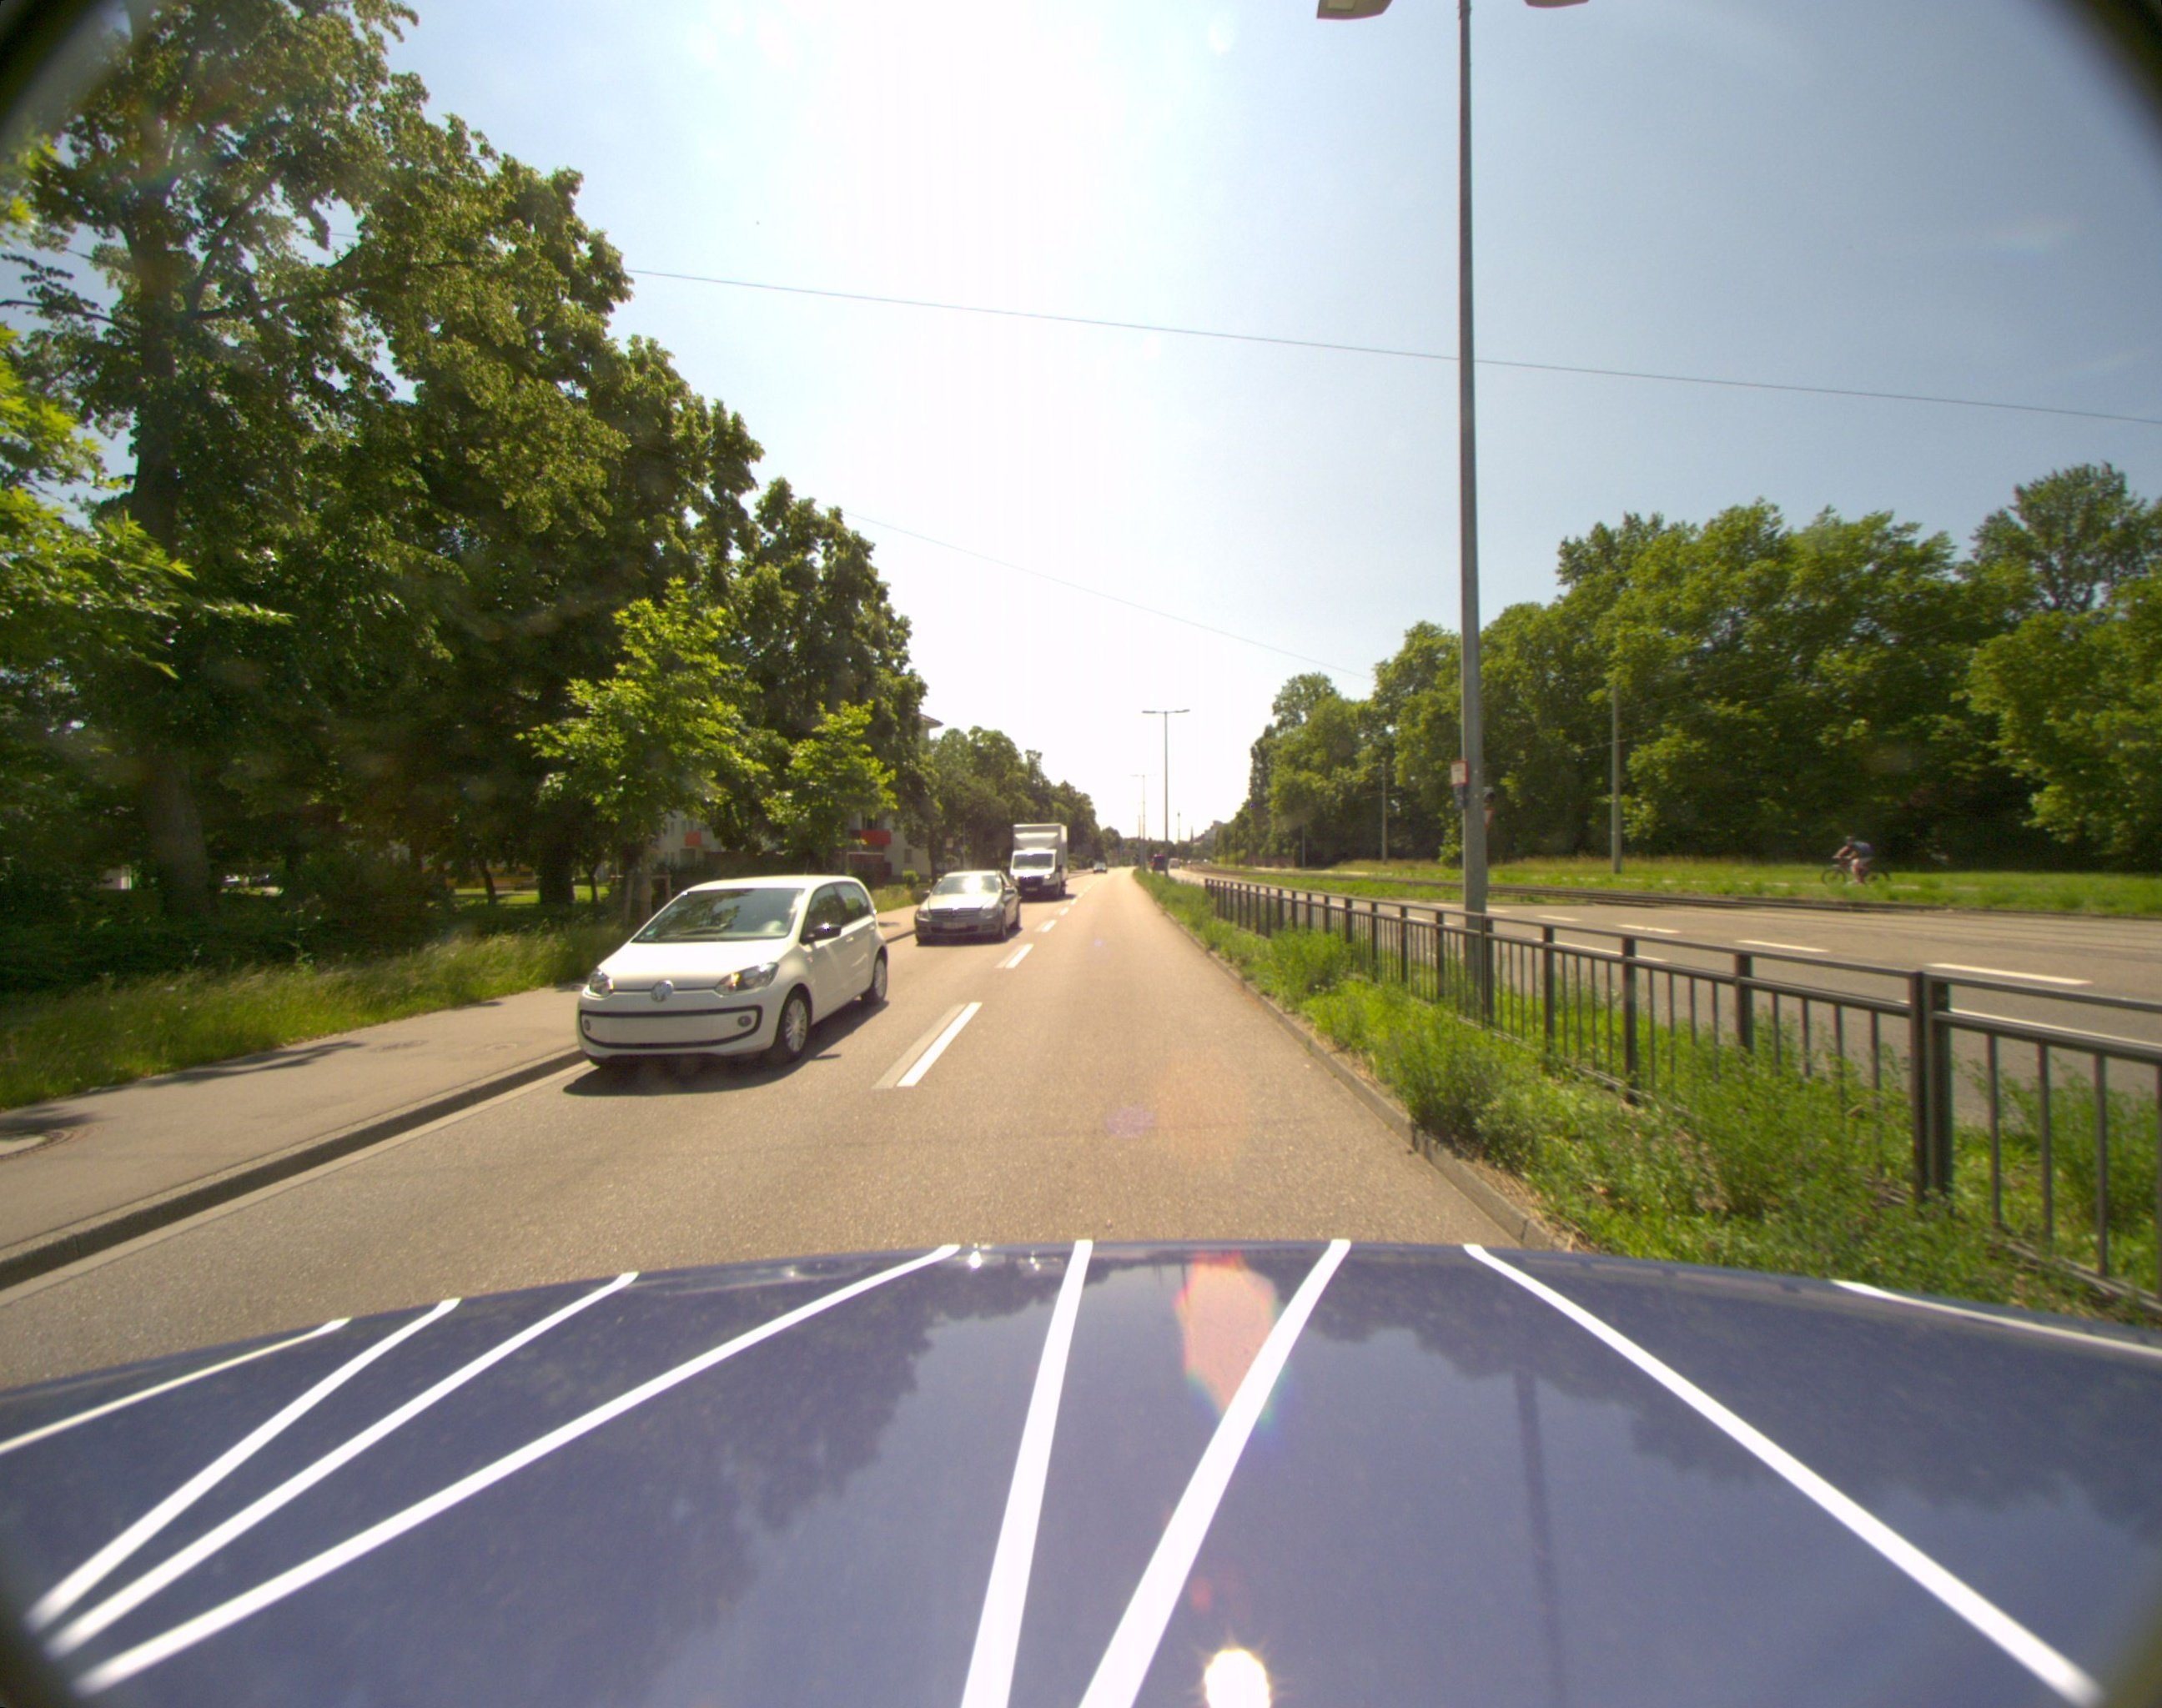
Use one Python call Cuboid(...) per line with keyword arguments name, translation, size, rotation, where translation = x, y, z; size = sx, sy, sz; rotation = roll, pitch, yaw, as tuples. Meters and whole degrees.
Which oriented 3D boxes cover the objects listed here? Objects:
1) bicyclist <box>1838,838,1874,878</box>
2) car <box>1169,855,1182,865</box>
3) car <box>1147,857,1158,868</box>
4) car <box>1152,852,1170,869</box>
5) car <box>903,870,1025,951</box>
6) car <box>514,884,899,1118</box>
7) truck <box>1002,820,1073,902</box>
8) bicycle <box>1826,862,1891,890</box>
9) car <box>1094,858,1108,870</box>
Cuboid(name="bicyclist", translation=(26.311, 0.137, 25.791), size=(0.509, 1.328, 0.680), rotation=(-1, 0, -5))
Cuboid(name="car", translation=(18.026, 1.134, 144.505), size=(1.998, 2.001, 5.031), rotation=(0, 0, 2))
Cuboid(name="car", translation=(12.933, 1.553, 137.289), size=(1.833, 1.895, 5.569), rotation=(0, 0, 6))
Cuboid(name="car", translation=(10.962, 0.858, 104.743), size=(1.998, 2.352, 5.373), rotation=(0, 0, 2))
Cuboid(name="car", translation=(-2.384, 1.123, 16.522), size=(1.903, 1.451, 3.972), rotation=(-3, -1, 1))
Cuboid(name="car", translation=(-3.086, 1.107, 7.248), size=(1.663, 1.441, 3.855), rotation=(-2, 0, 1))
Cuboid(name="truck", translation=(-1.801, 0.292, 34.918), size=(2.294, 3.259, 8.313), rotation=(-2, 0, 3))
Cuboid(name="bicycle", translation=(26.427, 0.728, 25.843), size=(0.509, 0.896, 1.565), rotation=(-1, 0, -5))
Cuboid(name="car", translation=(2.775, 1.392, 104.027), size=(1.829, 1.556, 4.000), rotation=(-1, 0, 1))
